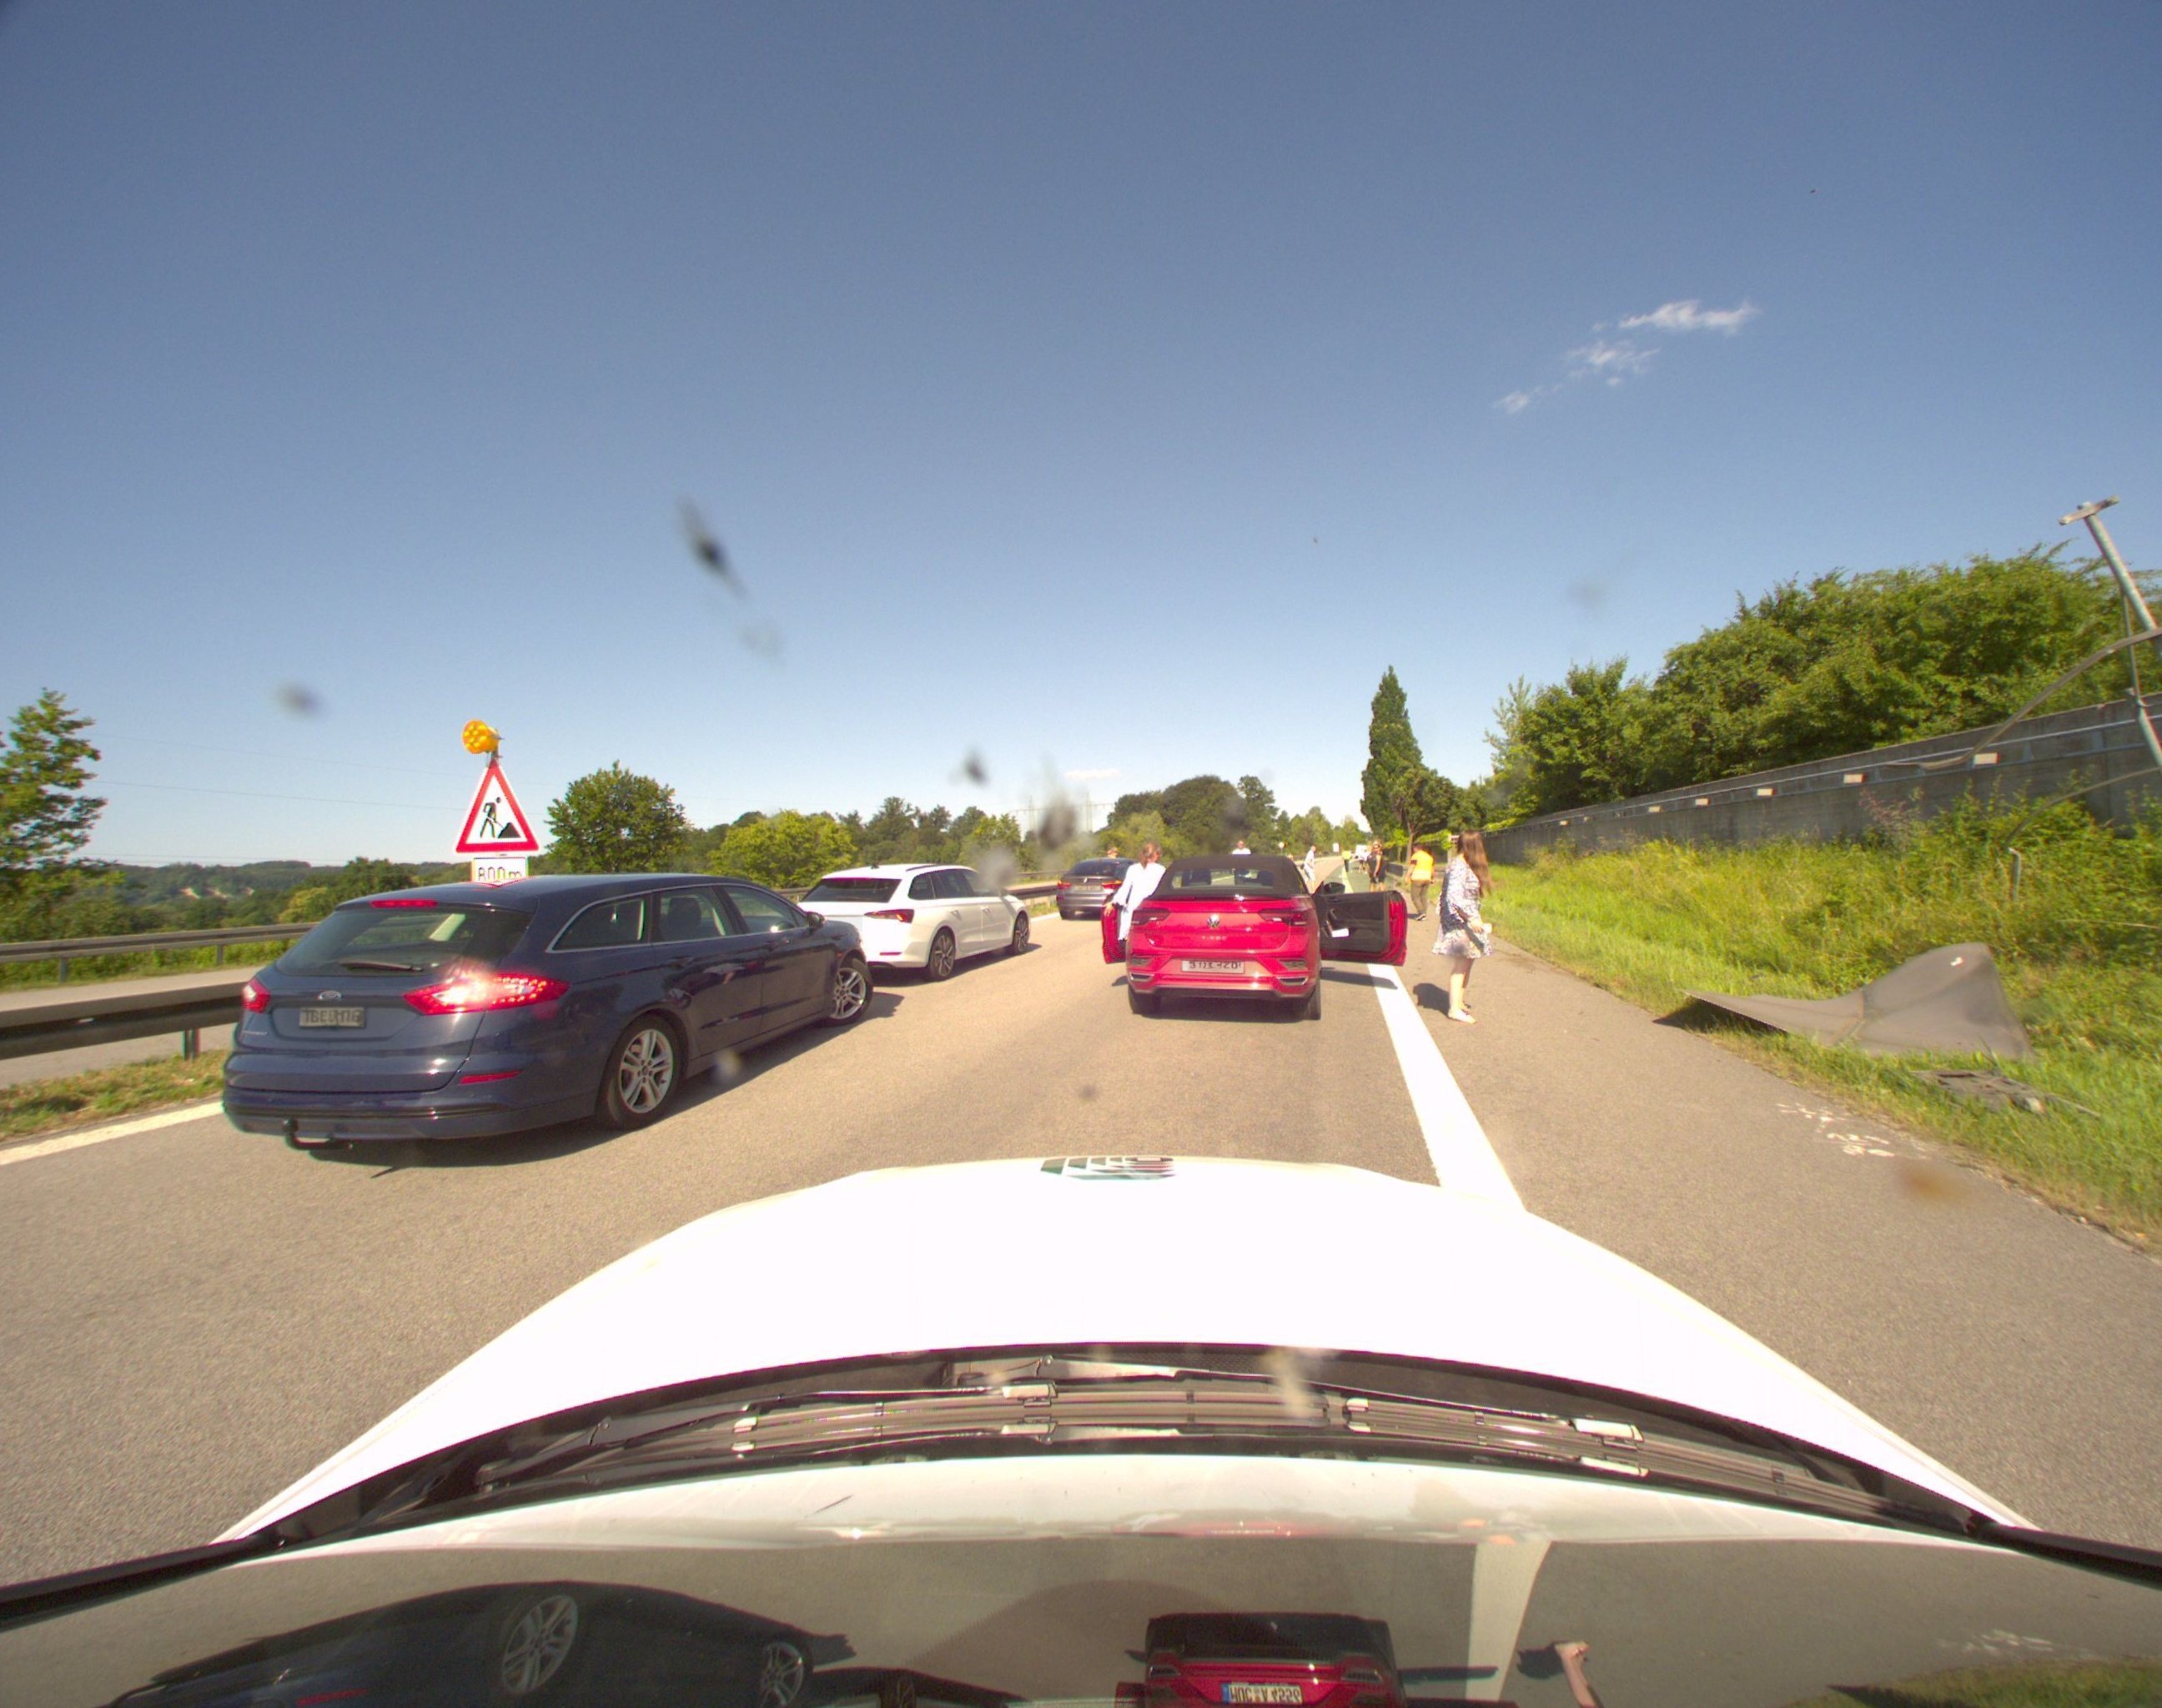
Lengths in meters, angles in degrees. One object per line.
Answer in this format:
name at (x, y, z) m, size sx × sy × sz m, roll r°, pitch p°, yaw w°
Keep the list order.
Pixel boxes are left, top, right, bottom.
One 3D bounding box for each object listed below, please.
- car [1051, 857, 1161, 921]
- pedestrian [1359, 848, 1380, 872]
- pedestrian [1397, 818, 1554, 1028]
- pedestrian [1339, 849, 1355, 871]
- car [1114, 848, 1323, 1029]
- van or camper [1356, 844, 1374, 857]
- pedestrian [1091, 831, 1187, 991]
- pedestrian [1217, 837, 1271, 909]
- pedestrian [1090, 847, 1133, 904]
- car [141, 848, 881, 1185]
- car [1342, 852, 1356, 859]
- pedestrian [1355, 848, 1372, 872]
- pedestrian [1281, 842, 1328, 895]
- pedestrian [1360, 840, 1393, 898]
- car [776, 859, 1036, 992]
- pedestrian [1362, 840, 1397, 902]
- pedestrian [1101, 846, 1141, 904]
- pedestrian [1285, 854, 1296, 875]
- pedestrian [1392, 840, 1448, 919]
car at (0.760, 0.803, 20.738) m, size 1.681 × 1.426 × 4.353 m, roll -1°, pitch 0°, yaw 17°
pedestrian at (20.414, 0.435, 57.622) m, size 1.010 × 1.689 × 0.993 m, roll 0°, pitch -1°, yaw -19°
pedestrian at (3.439, 0.576, 7.199) m, size 1.115 × 1.695 × 0.897 m, roll -3°, pitch -1°, yaw 22°
pedestrian at (20.366, 0.475, 62.308) m, size 1.046 × 1.689 × 1.023 m, roll -1°, pitch -1°, yaw 23°
car at (1.741, 0.702, 8.964) m, size 1.719 × 1.487 × 4.229 m, roll -1°, pitch 0°, yaw 17°
van or camper at (53.321, -0.607, 152.979) m, size 1.974 × 2.316 × 4.499 m, roll -1°, pitch -1°, yaw 34°
pedestrian at (0.657, 0.615, 9.073) m, size 0.832 × 1.683 × 0.747 m, roll -2°, pitch -1°, yaw 19°
pedestrian at (4.538, 0.518, 22.810) m, size 1.104 × 1.912 × 1.255 m, roll -2°, pitch -1°, yaw -5°
pedestrian at (0.990, 0.684, 26.159) m, size 1.106 × 1.763 × 1.048 m, roll -2°, pitch -1°, yaw 16°
car at (-3.207, 0.759, 5.950) m, size 1.778 × 1.493 × 4.503 m, roll -2°, pitch 0°, yaw 8°
car at (52.620, 0.283, 159.823) m, size 1.715 × 1.487 × 4.237 m, roll -1°, pitch 0°, yaw 33°
pedestrian at (20.264, 0.446, 58.504) m, size 1.105 × 1.689 × 0.977 m, roll -1°, pitch -1°, yaw 17°
pedestrian at (7.729, 0.477, 28.219) m, size 1.094 × 1.789 × 1.097 m, roll 0°, pitch -1°, yaw -28°
pedestrian at (9.146, 0.453, 25.244) m, size 0.807 × 1.759 × 0.830 m, roll -1°, pitch -1°, yaw 9°
car at (-2.152, 0.821, 11.341) m, size 1.681 × 1.441 × 4.229 m, roll -1°, pitch 0°, yaw 17°
pedestrian at (8.546, 0.477, 23.346) m, size 0.887 × 1.725 × 0.758 m, roll -1°, pitch -1°, yaw 18°
pedestrian at (1.350, 0.683, 27.422) m, size 1.057 × 1.883 × 1.098 m, roll -2°, pitch -1°, yaw 16°
pedestrian at (17.552, 0.886, 68.202) m, size 0.785 × 1.689 × 0.796 m, roll -1°, pitch -1°, yaw 22°
pedestrian at (7.476, 0.554, 18.012) m, size 0.950 × 1.654 × 1.284 m, roll -2°, pitch -1°, yaw 17°
